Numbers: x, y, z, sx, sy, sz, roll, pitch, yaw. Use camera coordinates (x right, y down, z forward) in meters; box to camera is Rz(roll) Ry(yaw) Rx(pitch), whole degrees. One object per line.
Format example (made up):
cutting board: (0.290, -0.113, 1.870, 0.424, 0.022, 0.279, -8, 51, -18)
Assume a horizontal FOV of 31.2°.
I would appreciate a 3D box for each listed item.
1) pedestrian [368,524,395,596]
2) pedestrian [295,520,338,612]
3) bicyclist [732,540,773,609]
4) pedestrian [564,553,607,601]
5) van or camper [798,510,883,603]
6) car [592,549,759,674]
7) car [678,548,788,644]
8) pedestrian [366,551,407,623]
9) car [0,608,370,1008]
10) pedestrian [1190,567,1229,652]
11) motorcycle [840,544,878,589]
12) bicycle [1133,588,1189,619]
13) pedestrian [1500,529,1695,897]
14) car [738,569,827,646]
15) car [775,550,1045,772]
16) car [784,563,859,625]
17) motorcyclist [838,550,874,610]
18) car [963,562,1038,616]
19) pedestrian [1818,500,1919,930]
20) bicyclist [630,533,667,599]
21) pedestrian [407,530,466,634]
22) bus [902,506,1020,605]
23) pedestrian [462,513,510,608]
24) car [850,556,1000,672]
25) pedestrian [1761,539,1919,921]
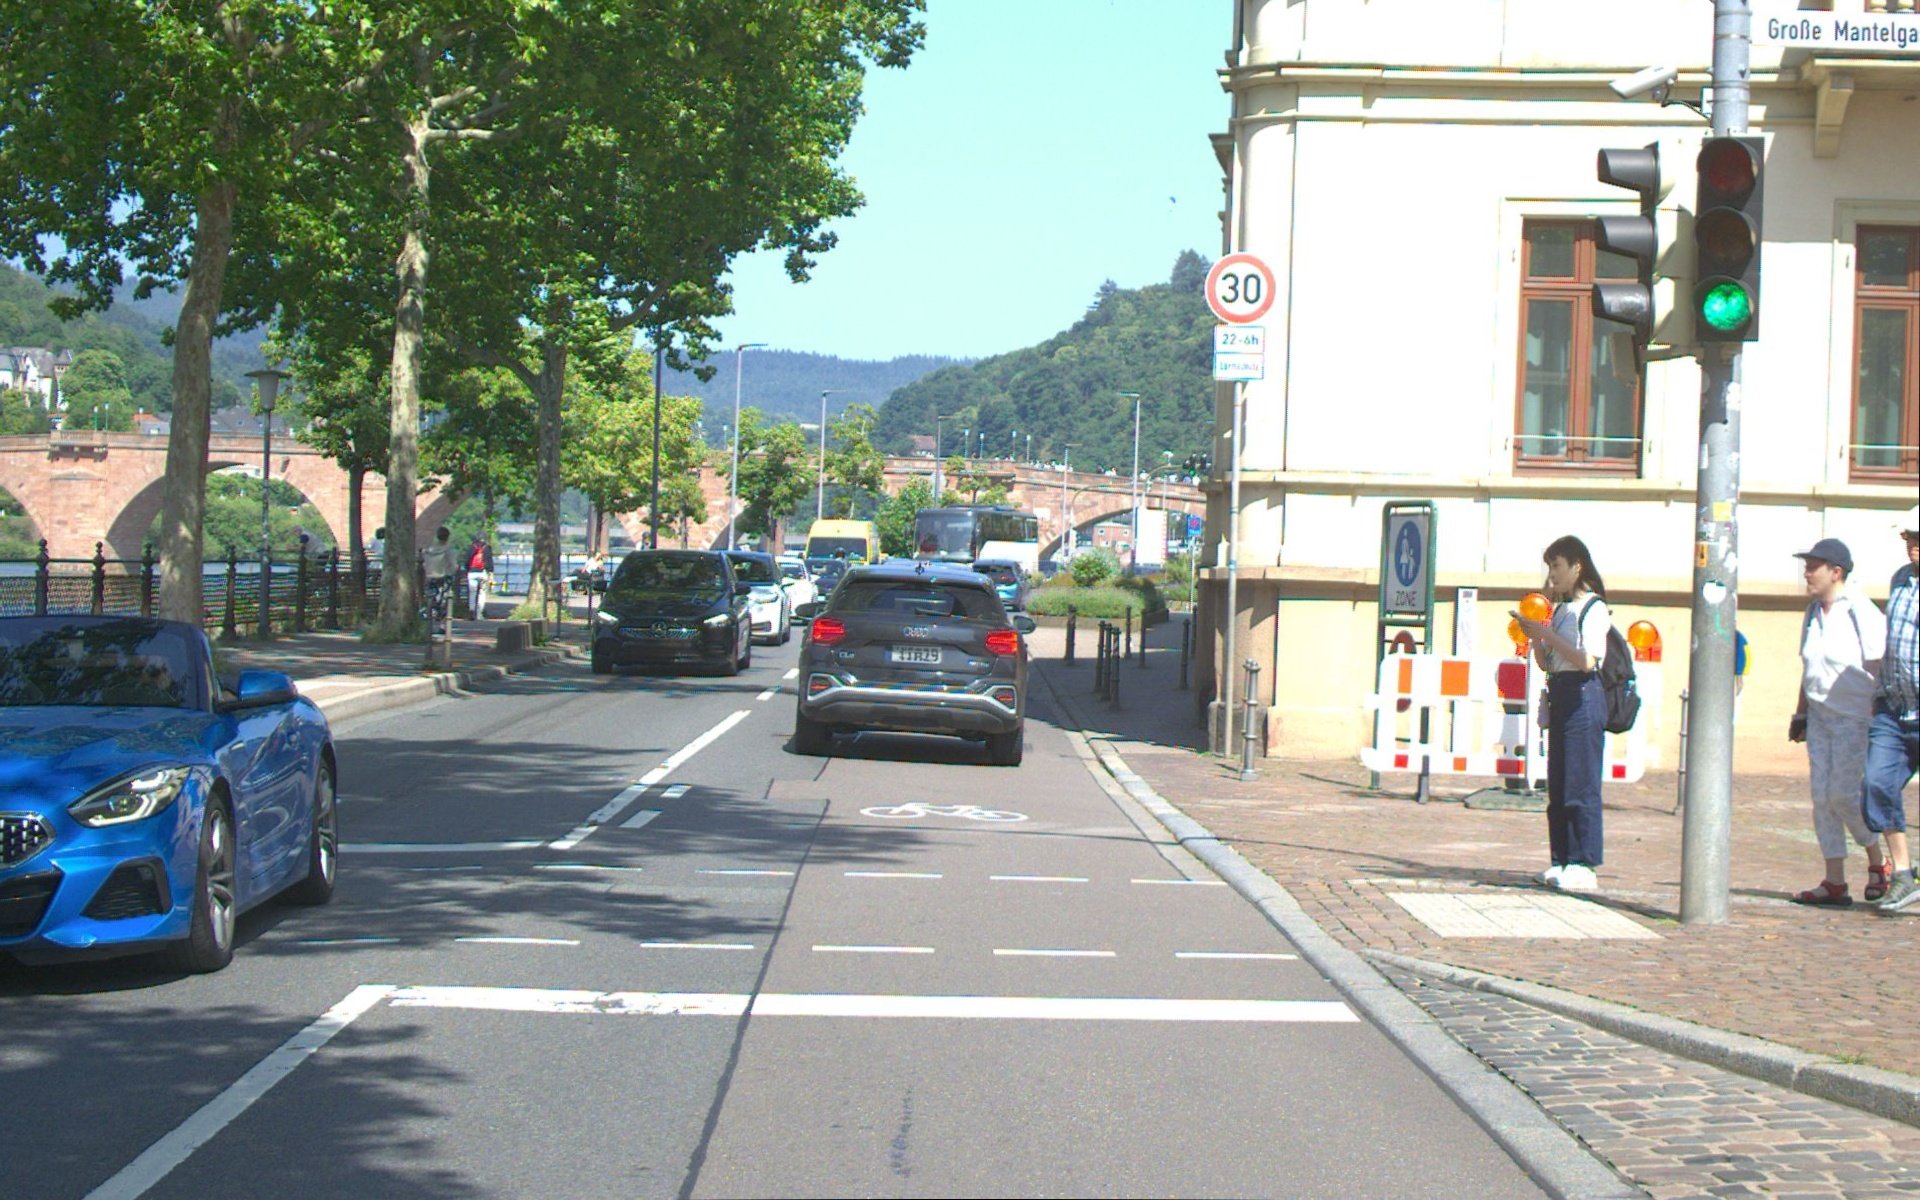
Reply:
pedestrian: (-13.111, -0.904, 77.903, 0.414, 1.592, 0.450, 2, 0, 7)
pedestrian: (-13.757, -0.729, 73.563, 0.693, 1.938, 0.887, 2, 0, -1)
bicyclist: (-4.825, -0.608, 80.105, 0.766, 1.526, 1.025, 4, 2, 2)
pedestrian: (-10.375, -0.635, 95.286, 0.937, 1.276, 0.849, 2, 0, 8)
van or camper: (-3.479, -1.267, 101.306, 2.087, 2.548, 7.092, 3, 0, 1)
car: (-3.580, 0.126, 43.902, 1.701, 1.513, 4.404, 0, 0, 1)
car: (-3.827, -0.102, 57.834, 1.735, 1.513, 4.405, 1, 1, -4)
pedestrian: (-13.060, -0.299, 78.263, 0.694, 1.610, 0.663, 2, 0, 7)
car: (-3.549, 0.700, 13.398, 1.840, 1.265, 4.262, -1, 0, -1)
pedestrian: (5.090, 0.188, 70.103, 0.762, 1.708, 0.696, -1, 0, 3)
motorcycle: (-2.729, -0.909, 92.513, 0.883, 1.073, 2.329, 2, 3, -4)
bicycle: (6.732, 0.116, 115.369, 1.810, 0.875, 0.502, 4, 1, 4)
pedestrian: (2.990, 0.520, 16.174, 0.715, 1.670, 0.682, 2, 0, -1)
car: (-3.804, 0.138, 74.048, 1.701, 1.440, 4.092, 3, 2, -1)
car: (-0.503, 0.424, 28.163, 1.926, 1.548, 4.832, 4, 1, -3)
car: (-3.473, -0.160, 86.733, 1.701, 1.453, 4.002, 2, 0, 0)
motorcyclist: (-2.799, -0.538, 92.449, 0.878, 1.578, 1.025, 2, 0, -4)
car: (1.242, -0.345, 104.066, 1.927, 1.548, 4.831, 1, 1, 4)
pedestrian: (4.296, 0.498, 15.105, 0.616, 1.846, 0.730, 2, 0, -36)
bicyclist: (-7.610, -0.834, 83.941, 0.719, 1.578, 1.089, 2, 0, 2)
pedestrian: (-8.189, -0.283, 53.788, 0.761, 1.581, 0.696, 2, 0, -1)
bus: (0.135, -1.689, 136.466, 2.632, 3.552, 12.978, 2, 0, 9)
pedestrian: (-8.749, -0.727, 63.432, 0.656, 1.676, 0.758, 5, 0, -1)
car: (-0.438, 0.153, 47.942, 1.926, 1.456, 4.832, 2, 1, 1)
pedestrian: (4.082, 0.586, 15.887, 0.526, 1.706, 0.665, 2, 0, -1)
